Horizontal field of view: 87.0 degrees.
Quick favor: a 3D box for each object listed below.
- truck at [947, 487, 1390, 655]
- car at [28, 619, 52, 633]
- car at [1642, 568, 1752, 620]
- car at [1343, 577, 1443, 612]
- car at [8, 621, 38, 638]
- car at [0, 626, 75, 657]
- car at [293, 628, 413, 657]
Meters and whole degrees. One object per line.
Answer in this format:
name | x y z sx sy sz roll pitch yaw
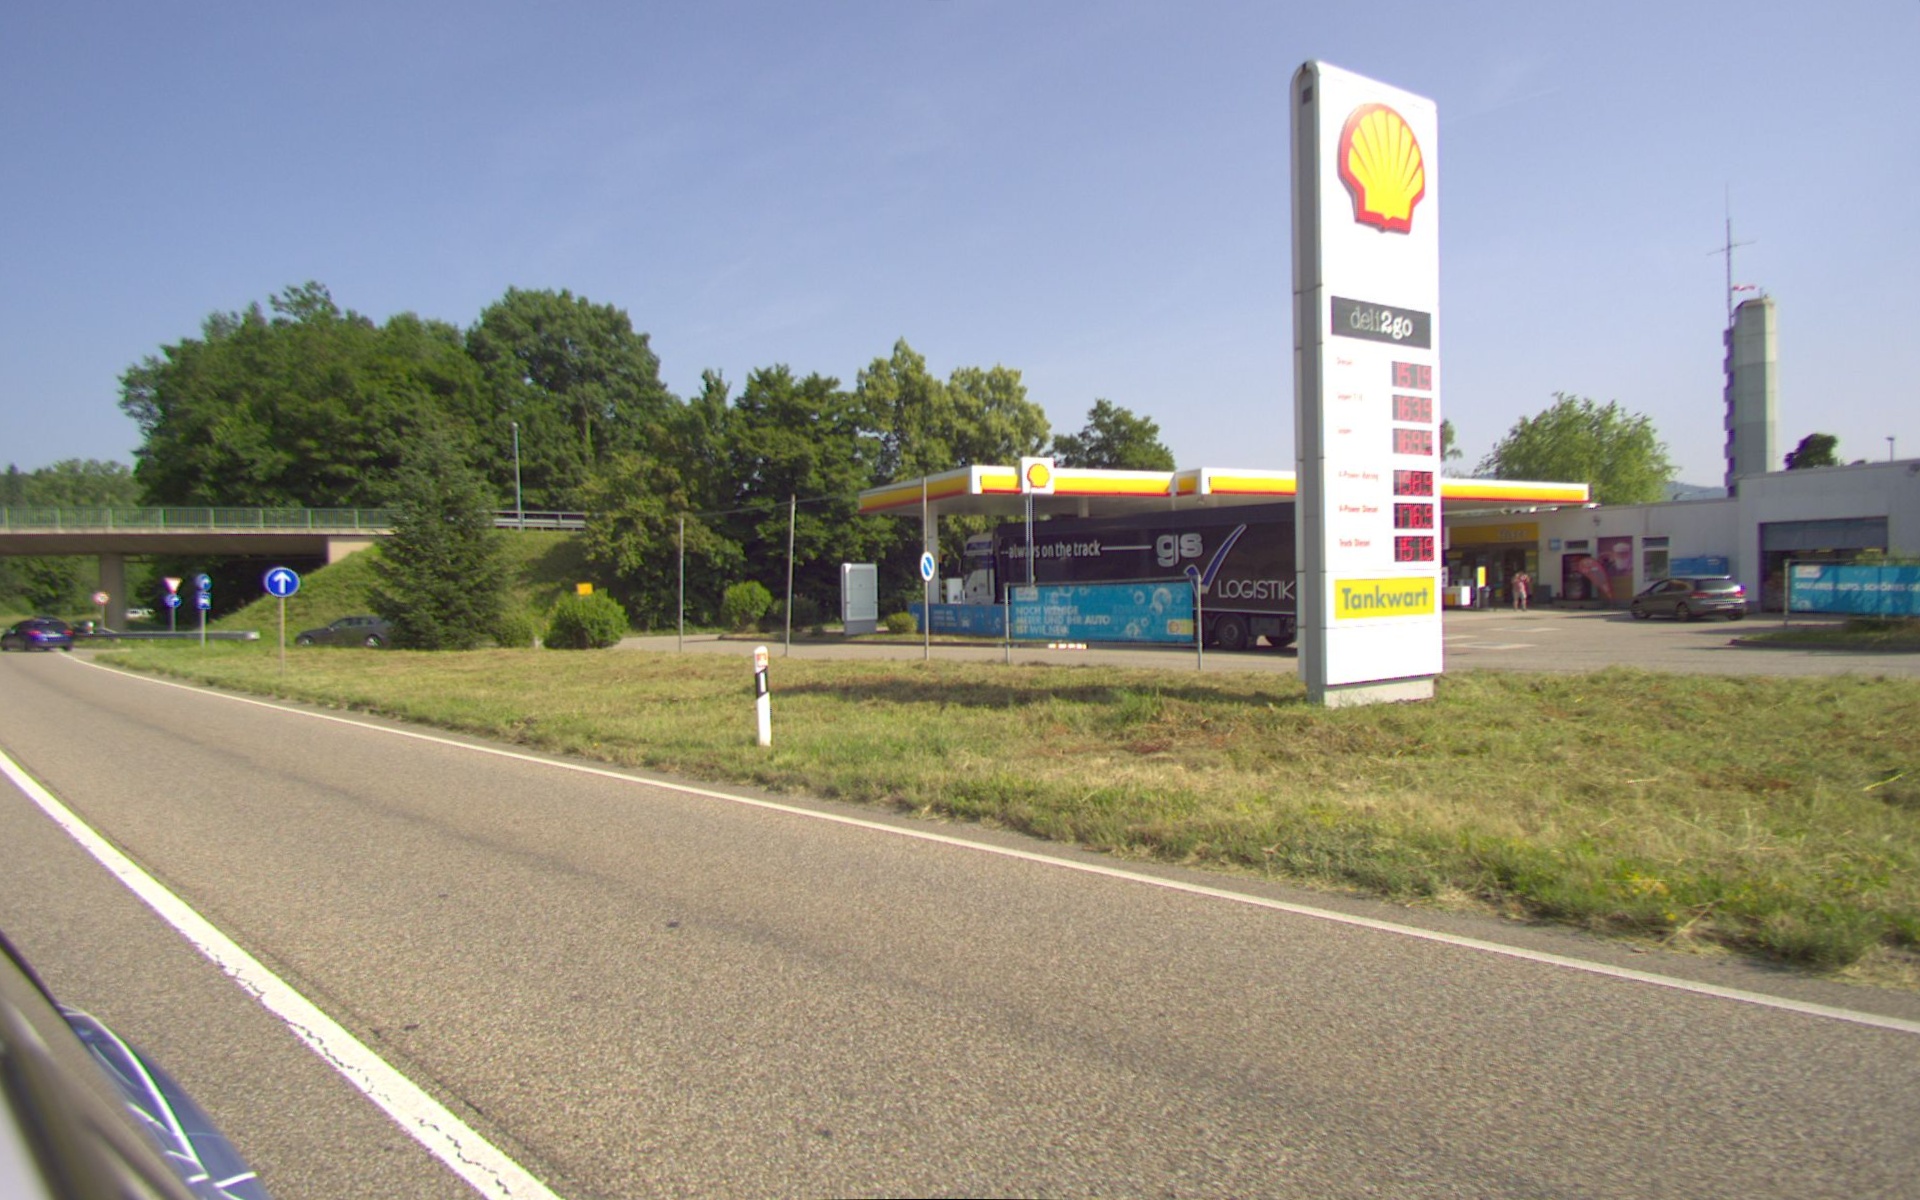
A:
truck | 5.429 -0.663 32.900 3.012 4.165 16.817 0 0 -34
car | -91.757 2.621 100.918 1.658 1.366 3.924 1 -2 -45
car | 24.476 -0.178 33.796 1.707 1.578 4.291 -2 0 19
car | 19.853 -0.256 46.560 1.965 1.470 4.013 -2 0 -20
car | -75.782 2.379 81.822 1.658 1.366 3.924 1 -2 -45
car | -42.476 1.867 46.333 3.903 1.366 1.667 -1 -1 28
car | -25.569 1.774 42.731 4.045 1.181 1.808 0 -1 3
